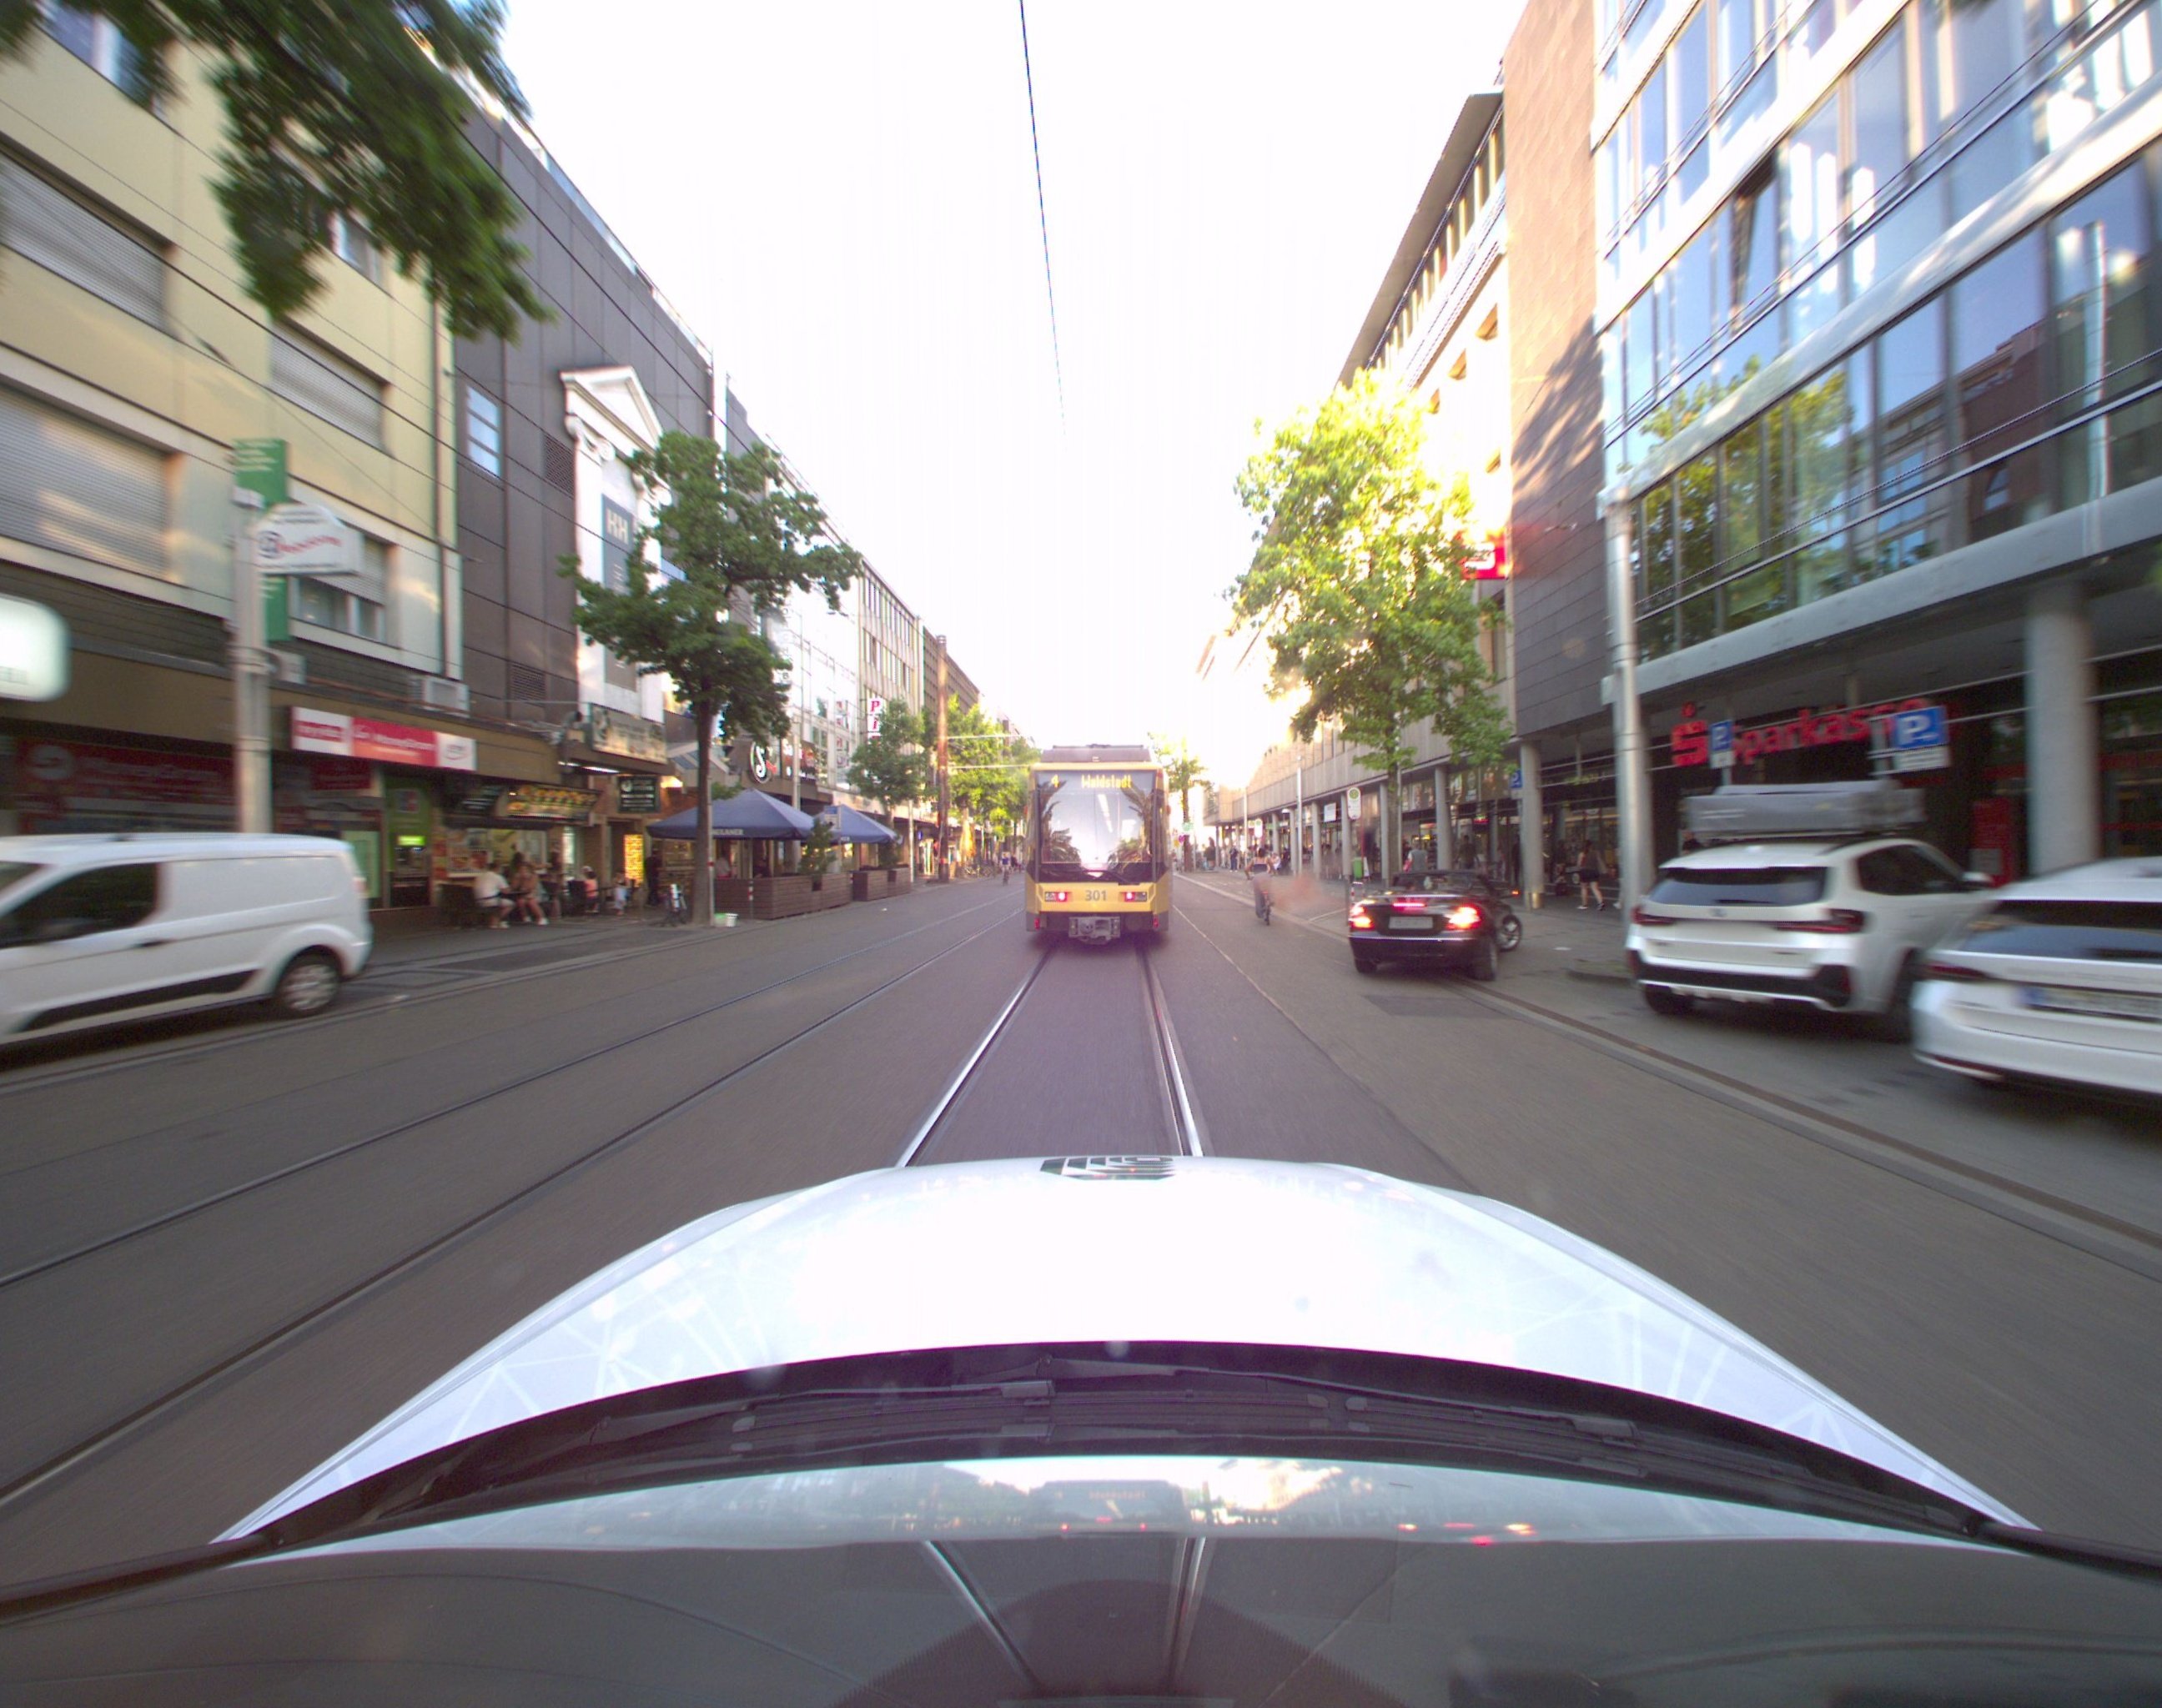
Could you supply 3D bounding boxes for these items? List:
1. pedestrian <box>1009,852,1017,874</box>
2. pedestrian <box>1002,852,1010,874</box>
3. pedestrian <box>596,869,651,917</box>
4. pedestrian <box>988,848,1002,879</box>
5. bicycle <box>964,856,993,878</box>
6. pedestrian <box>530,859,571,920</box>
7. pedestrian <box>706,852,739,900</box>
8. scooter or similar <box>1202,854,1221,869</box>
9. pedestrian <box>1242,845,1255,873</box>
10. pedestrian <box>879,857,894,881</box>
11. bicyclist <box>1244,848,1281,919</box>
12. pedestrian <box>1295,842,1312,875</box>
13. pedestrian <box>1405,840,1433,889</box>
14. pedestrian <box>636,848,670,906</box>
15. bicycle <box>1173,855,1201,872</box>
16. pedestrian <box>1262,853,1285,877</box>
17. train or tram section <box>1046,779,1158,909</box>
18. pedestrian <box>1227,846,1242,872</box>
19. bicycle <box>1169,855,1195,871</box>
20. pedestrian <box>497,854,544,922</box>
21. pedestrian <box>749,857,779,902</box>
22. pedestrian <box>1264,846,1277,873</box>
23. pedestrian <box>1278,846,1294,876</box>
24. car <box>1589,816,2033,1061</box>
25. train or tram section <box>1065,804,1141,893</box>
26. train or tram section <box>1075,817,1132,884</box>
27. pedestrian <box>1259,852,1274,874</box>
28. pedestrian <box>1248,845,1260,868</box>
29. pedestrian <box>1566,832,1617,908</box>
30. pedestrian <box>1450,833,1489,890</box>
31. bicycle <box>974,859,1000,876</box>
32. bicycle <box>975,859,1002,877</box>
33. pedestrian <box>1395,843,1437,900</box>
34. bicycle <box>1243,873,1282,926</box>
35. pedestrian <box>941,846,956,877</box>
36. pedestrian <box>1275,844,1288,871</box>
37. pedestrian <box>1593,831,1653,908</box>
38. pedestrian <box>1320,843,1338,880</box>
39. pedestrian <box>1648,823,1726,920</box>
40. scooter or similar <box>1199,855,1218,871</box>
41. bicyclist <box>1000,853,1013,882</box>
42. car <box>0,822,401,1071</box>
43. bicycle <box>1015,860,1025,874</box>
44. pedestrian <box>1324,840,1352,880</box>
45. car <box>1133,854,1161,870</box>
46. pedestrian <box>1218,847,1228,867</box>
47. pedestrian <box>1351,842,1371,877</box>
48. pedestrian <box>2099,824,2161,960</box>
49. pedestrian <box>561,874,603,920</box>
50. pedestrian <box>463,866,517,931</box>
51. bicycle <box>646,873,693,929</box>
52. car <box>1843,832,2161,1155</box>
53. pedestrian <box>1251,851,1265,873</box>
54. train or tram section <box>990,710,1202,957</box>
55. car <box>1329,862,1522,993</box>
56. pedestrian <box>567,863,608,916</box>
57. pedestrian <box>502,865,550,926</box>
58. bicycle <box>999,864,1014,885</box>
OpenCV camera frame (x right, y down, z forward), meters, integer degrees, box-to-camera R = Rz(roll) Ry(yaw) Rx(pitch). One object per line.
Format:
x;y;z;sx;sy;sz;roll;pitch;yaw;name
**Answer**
-5.392;0.693;64.280;0.549;1.687;0.575;2;-1;-2;pedestrian
-6.018;0.710;64.953;0.573;1.687;0.551;2;-1;-8;pedestrian
-11.321;0.960;20.179;0.816;1.120;0.781;2;-1;12;pedestrian
-5.339;0.612;50.753;0.749;1.880;0.575;2;-1;-2;pedestrian
-6.771;0.863;53.659;1.797;1.360;0.658;2;-1;-10;bicycle
-12.139;0.800;18.639;0.440;1.373;0.608;2;-1;12;pedestrian
-9.839;0.598;22.368;0.601;1.256;0.561;2;-1;4;pedestrian
10.498;0.619;65.476;1.380;1.210;0.513;-2;-1;-12;scooter or similar
10.851;0.328;52.879;0.745;1.782;0.892;0;-1;5;pedestrian
-10.788;0.828;45.170;0.571;1.319;0.726;1;-1;3;pedestrian
4.033;0.648;18.160;0.723;1.527;0.735;1;-1;6;bicyclist
12.733;0.254;46.575;0.698;1.839;0.830;-3;1;2;pedestrian
11.432;0.349;27.587;0.594;1.616;0.756;-3;1;2;pedestrian
-12.007;0.650;22.847;0.601;1.597;0.561;1;-1;4;pedestrian
9.250;0.817;70.951;2.322;1.472;0.790;0;-1;-2;bicycle
11.209;0.635;47.528;1.107;1.328;0.927;-3;0;3;pedestrian
0.730;-0.262;27.311;2.996;3.523;10.406;0;0;2;train or tram section
10.583;0.324;56.096;0.885;1.782;0.751;0;-1;0;pedestrian
9.292;0.808;75.046;2.322;1.472;0.790;0;-1;-2;bicycle
-12.269;0.741;17.838;0.607;1.434;0.512;2;-1;5;pedestrian
-9.211;0.730;23.649;0.556;1.256;0.606;2;-1;3;pedestrian
13.278;0.382;57.085;0.698;1.839;0.830;-3;1;2;pedestrian
11.573;0.368;46.090;0.698;1.637;0.646;-3;1;2;pedestrian
7.061;0.587;7.805;4.220;1.637;1.902;-4;0;-30;car
1.038;-0.202;37.949;2.992;3.523;10.849;-1;0;2;train or tram section
1.381;-0.172;48.644;3.033;3.523;10.534;0;0;2;train or tram section
11.687;0.548;51.287;0.803;1.328;0.626;-3;1;3;pedestrian
13.220;0.209;62.290;0.698;1.684;0.681;-3;1;2;pedestrian
11.282;0.346;18.021;0.594;1.616;0.756;-3;1;2;pedestrian
13.026;0.234;27.305;0.829;1.836;0.944;-2;1;2;pedestrian
-6.695;0.973;57.846;1.728;1.126;0.563;2;-1;-2;bicycle
-6.284;0.940;55.405;1.730;1.126;0.612;2;-1;-5;bicycle
9.366;0.475;22.810;0.874;1.581;0.756;0;1;1;pedestrian
4.050;0.988;18.277;0.652;1.060;2.061;1;0;7;bicycle
-8.843;0.516;54.337;0.845;2.014;0.922;0;-1;2;pedestrian
14.144;0.265;57.454;0.698;1.839;0.830;-3;1;2;pedestrian
11.853;0.317;17.828;0.594;1.616;1.022;-3;1;2;pedestrian
12.624;0.360;41.461;0.594;1.839;0.830;-3;1;2;pedestrian
11.635;0.319;15.655;0.874;1.782;0.756;-3;1;1;pedestrian
10.374;0.717;66.370;1.377;1.250;0.555;-2;-1;-6;scooter or similar
-3.753;0.678;41.110;0.618;1.416;0.700;0;-1;-1;bicyclist
-8.690;0.672;6.894;1.786;1.818;4.521;1;-1;4;car
-4.776;1.019;63.832;0.610;1.126;2.249;2;-1;-3;bicycle
12.703;0.292;40.249;1.049;1.876;0.930;-3;1;2;pedestrian
6.692;0.809;82.054;1.628;1.594;3.940;-1;-1;22;car
12.403;0.270;71.121;0.698;1.684;0.681;-3;1;2;pedestrian
13.101;0.257;38.140;0.594;1.616;0.830;-3;1;2;pedestrian
12.454;0.419;9.200;0.657;1.527;0.974;-1;-1;5;pedestrian
-11.602;0.986;18.943;0.448;1.029;0.666;2;-1;32;pedestrian
-11.739;0.870;16.192;0.509;1.242;0.661;2;-1;2;pedestrian
-9.196;1.020;18.277;0.815;1.103;2.149;-1;1;-24;bicycle
7.198;0.657;5.114;4.187;1.457;1.851;-4;0;-21;car
11.566;0.514;53.100;0.736;1.328;0.721;-3;1;3;pedestrian
0.372;-0.265;16.937;3.005;3.524;10.374;-1;0;2;train or tram section
5.026;0.858;11.489;1.784;1.348;4.474;-1;0;32;car
-12.181;0.864;20.109;0.556;1.258;0.607;1;-1;6;pedestrian
-11.683;0.864;17.157;0.520;1.256;0.587;2;-1;2;pedestrian
-3.748;1.041;41.050;0.639;1.023;1.588;1;0;0;bicycle
